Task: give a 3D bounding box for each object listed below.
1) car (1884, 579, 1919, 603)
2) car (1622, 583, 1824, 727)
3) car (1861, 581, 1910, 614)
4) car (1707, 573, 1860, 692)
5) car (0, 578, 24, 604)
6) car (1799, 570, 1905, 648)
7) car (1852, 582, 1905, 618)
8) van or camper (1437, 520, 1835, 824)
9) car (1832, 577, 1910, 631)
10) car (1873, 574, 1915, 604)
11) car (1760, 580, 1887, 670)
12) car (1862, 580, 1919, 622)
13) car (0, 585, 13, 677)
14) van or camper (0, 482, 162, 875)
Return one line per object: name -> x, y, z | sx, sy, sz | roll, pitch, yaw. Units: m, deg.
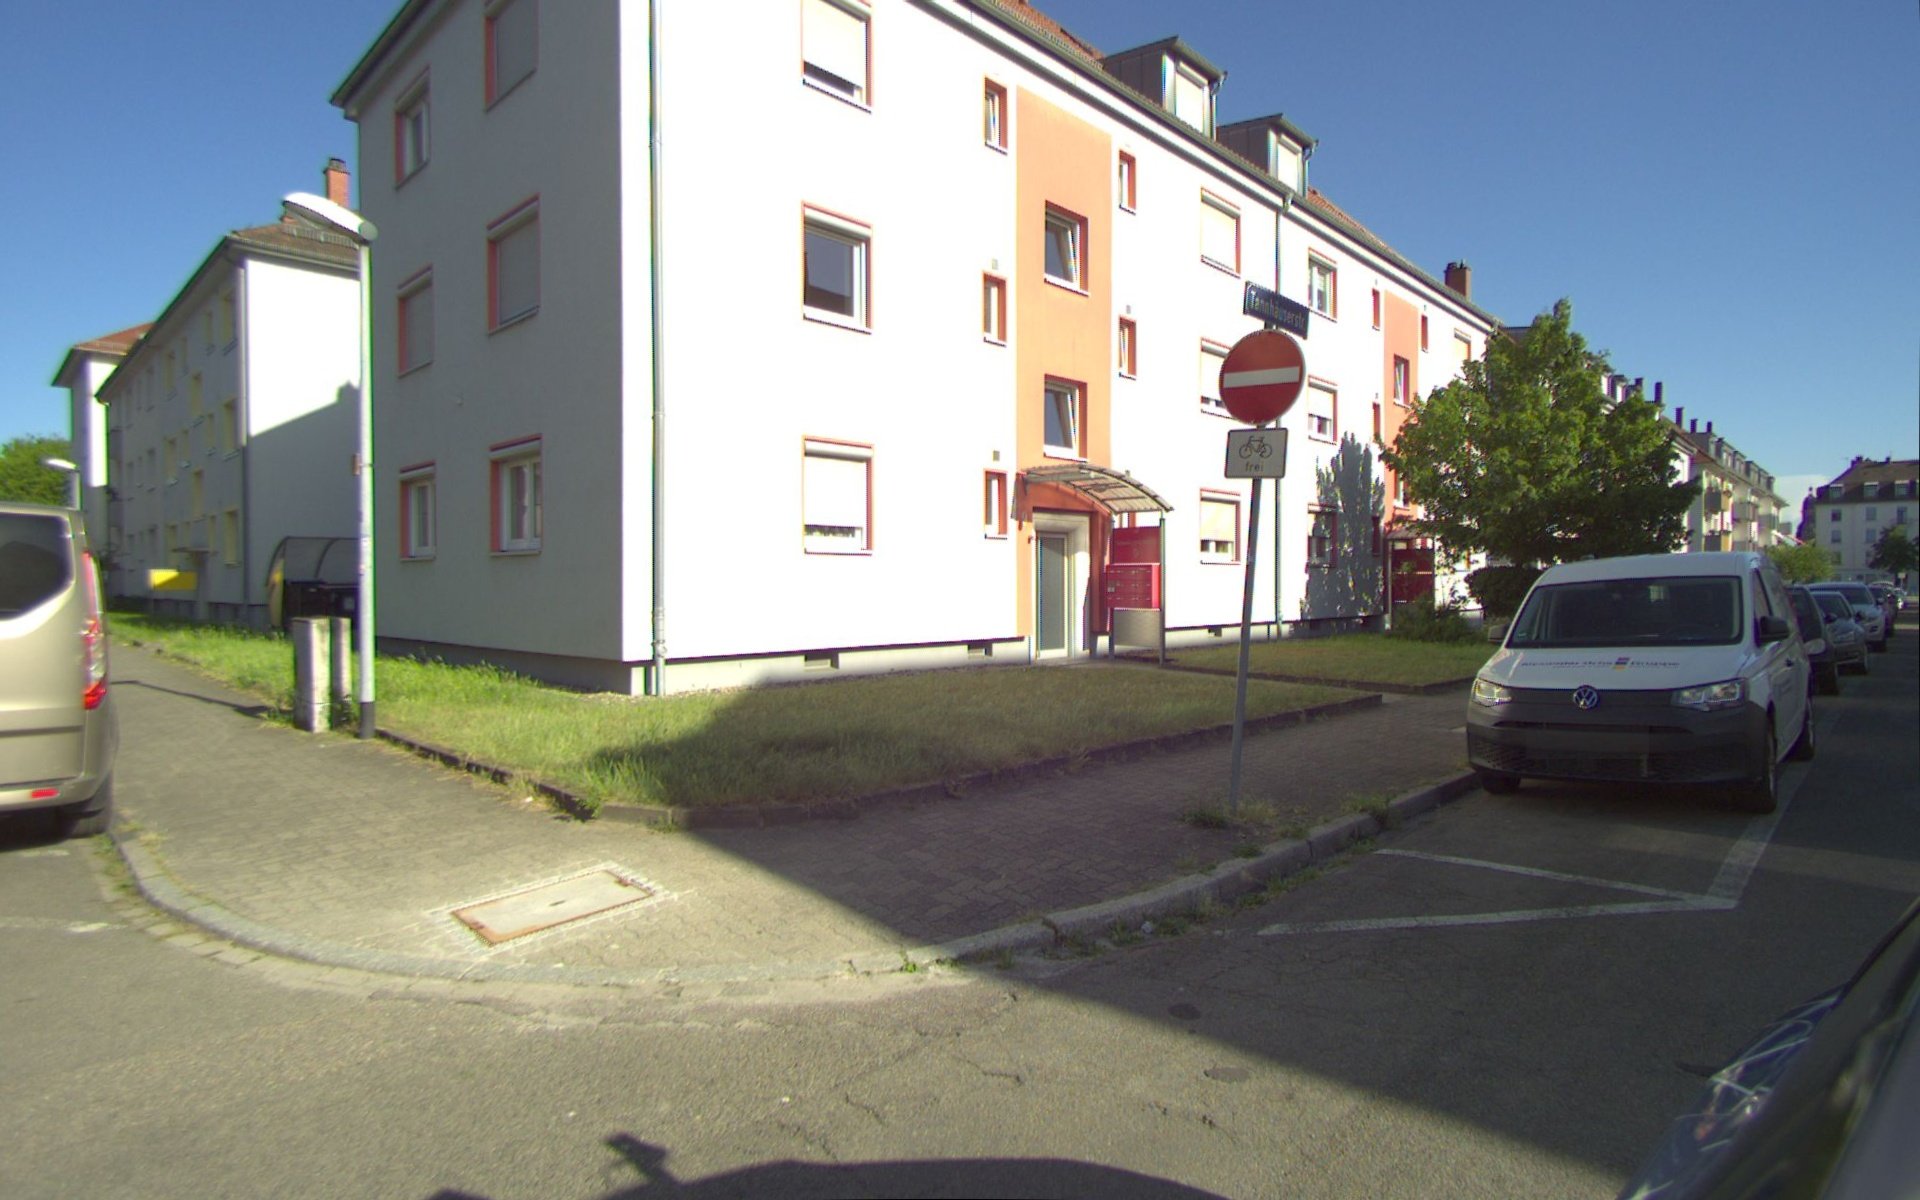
car -> 67.497, -0.673, 72.517 | 1.705, 1.590, 4.660 | 1, 2, 44
car -> 9.193, 0.546, 12.077 | 1.571, 1.435, 3.730 | -2, -1, 42
car -> 46.173, -0.167, 50.470 | 1.705, 1.591, 3.977 | 1, 1, 44
car -> 12.598, 0.399, 15.518 | 1.615, 1.569, 3.559 | 2, 2, 40
car -> -62.815, -0.562, 65.712 | 1.388, 1.648, 2.896 | 3, 3, 43
car -> 21.943, 0.200, 24.922 | 1.773, 1.741, 4.242 | -3, -1, 42
car -> 42.117, -0.026, 46.370 | 1.705, 1.591, 3.977 | 1, 1, 44
van or camper -> 5.679, 0.421, 8.205 | 1.792, 1.770, 4.659 | -4, -2, 44
car -> 29.367, 0.073, 32.577 | 1.727, 1.626, 4.354 | 1, 1, 44
car -> 63.413, -0.783, 68.662 | 1.949, 1.924, 4.689 | 1, 2, 44
car -> 15.795, 0.404, 18.474 | 1.628, 1.468, 3.891 | 0, 0, 42
car -> 37.602, 0.012, 40.784 | 1.705, 1.591, 3.815 | 1, 1, 44
car -> -17.198, 0.474, 17.029 | 3.474, 1.473, 1.653 | 1, 0, 44
van or camper -> -7.099, 0.377, 6.693 | 5.119, 2.039, 1.970 | 1, 0, 42
